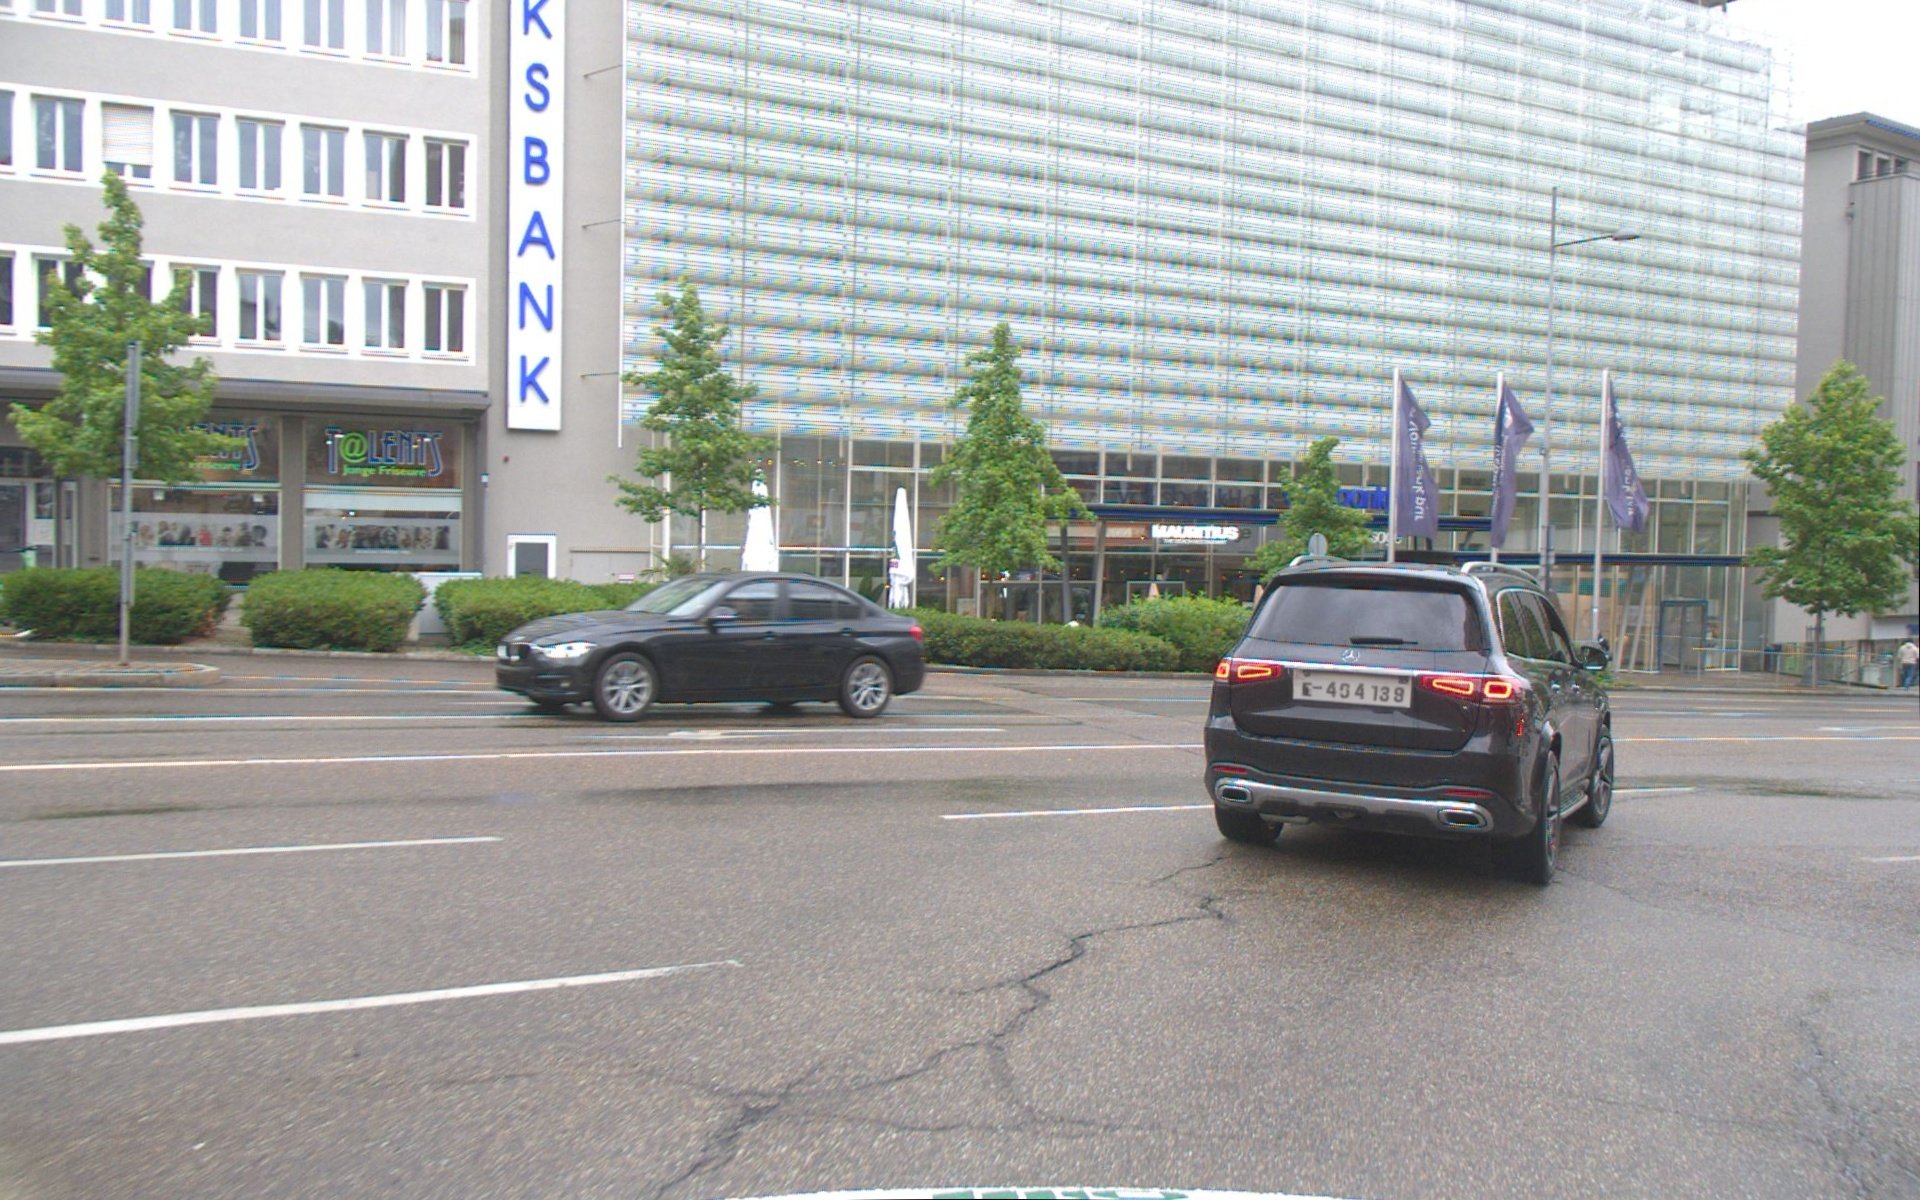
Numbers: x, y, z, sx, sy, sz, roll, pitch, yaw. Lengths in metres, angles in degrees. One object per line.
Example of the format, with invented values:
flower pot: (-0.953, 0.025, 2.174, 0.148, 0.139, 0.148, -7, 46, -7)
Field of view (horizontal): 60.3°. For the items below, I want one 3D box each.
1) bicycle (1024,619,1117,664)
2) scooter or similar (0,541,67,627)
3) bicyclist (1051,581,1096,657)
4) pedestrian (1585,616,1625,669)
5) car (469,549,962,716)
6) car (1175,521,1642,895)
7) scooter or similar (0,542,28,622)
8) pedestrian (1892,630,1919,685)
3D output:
bicycle: (2.589, 0.974, 38.768, 2.110, 1.010, 0.689, 1, 1, -26)
scooter or similar: (-15.329, -0.270, 26.687, 1.474, 1.277, 0.926, 2, 5, -20)
bicyclist: (2.659, 0.440, 38.787, 0.833, 1.734, 0.618, 0, 1, -25)
pedestrian: (18.671, 1.222, 47.884, 0.833, 1.482, 0.648, 2, 0, -30)
car: (-2.390, 0.339, 16.832, 4.587, 1.450, 1.973, 3, 0, -39)
car: (3.260, 0.590, 11.145, 2.047, 1.848, 4.787, 4, 0, 27)
scooter or similar: (-14.943, -0.286, 25.034, 1.359, 1.207, 0.541, 1, 1, -20)
pedestrian: (31.547, 1.907, 54.828, 0.976, 1.752, 1.035, 3, 0, 35)
